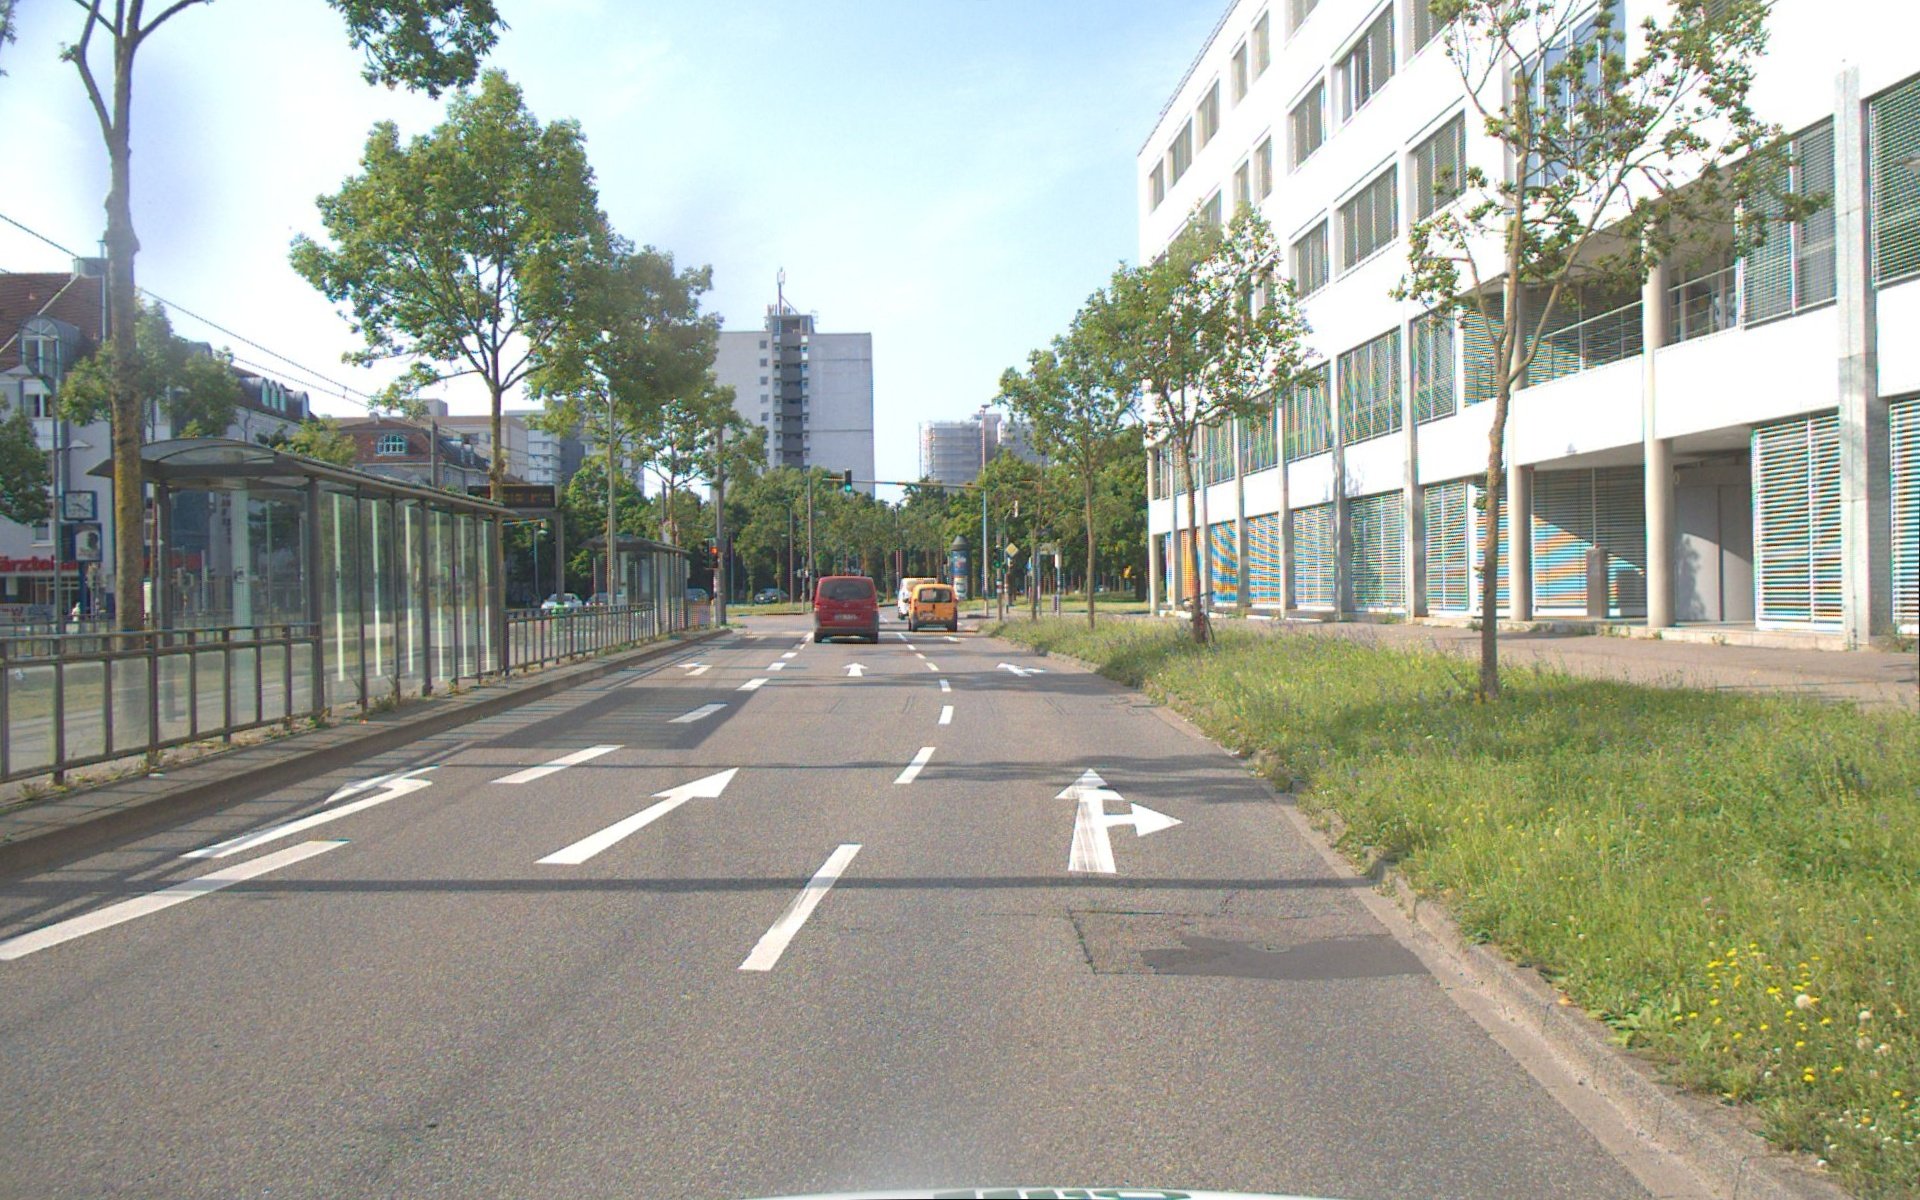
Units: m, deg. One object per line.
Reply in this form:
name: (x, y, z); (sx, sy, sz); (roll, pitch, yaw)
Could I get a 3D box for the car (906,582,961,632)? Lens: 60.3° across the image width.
car: (-0.996, 0.229, 60.616); (1.838, 1.726, 3.971); (-1, 0, -3)

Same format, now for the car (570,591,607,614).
car: (-27.165, 0.152, 121.103); (1.837, 1.601, 4.000); (-1, 0, -1)

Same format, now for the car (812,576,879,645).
car: (-3.356, 0.284, 48.129); (1.838, 1.886, 3.996); (-1, 0, -5)

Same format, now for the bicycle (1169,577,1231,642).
bicycle: (3.963, 0.150, 27.463); (0.605, 1.035, 1.878); (-1, 0, -5)

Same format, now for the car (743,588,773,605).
car: (-20.188, -0.379, 165.243); (1.835, 1.601, 4.225); (-1, 0, 10)

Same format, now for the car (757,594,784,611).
car: (-18.077, 0.268, 158.029); (1.836, 1.601, 4.002); (0, 0, 4)

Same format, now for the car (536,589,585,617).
car: (-23.985, 0.188, 99.325); (1.953, 1.624, 4.049); (0, 0, 0)

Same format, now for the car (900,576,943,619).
car: (-1.907, -0.137, 80.887); (1.954, 2.049, 3.997); (0, 0, -4)

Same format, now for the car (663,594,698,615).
car: (-22.464, 0.328, 133.030); (1.836, 1.601, 4.002); (-1, 0, 4)
